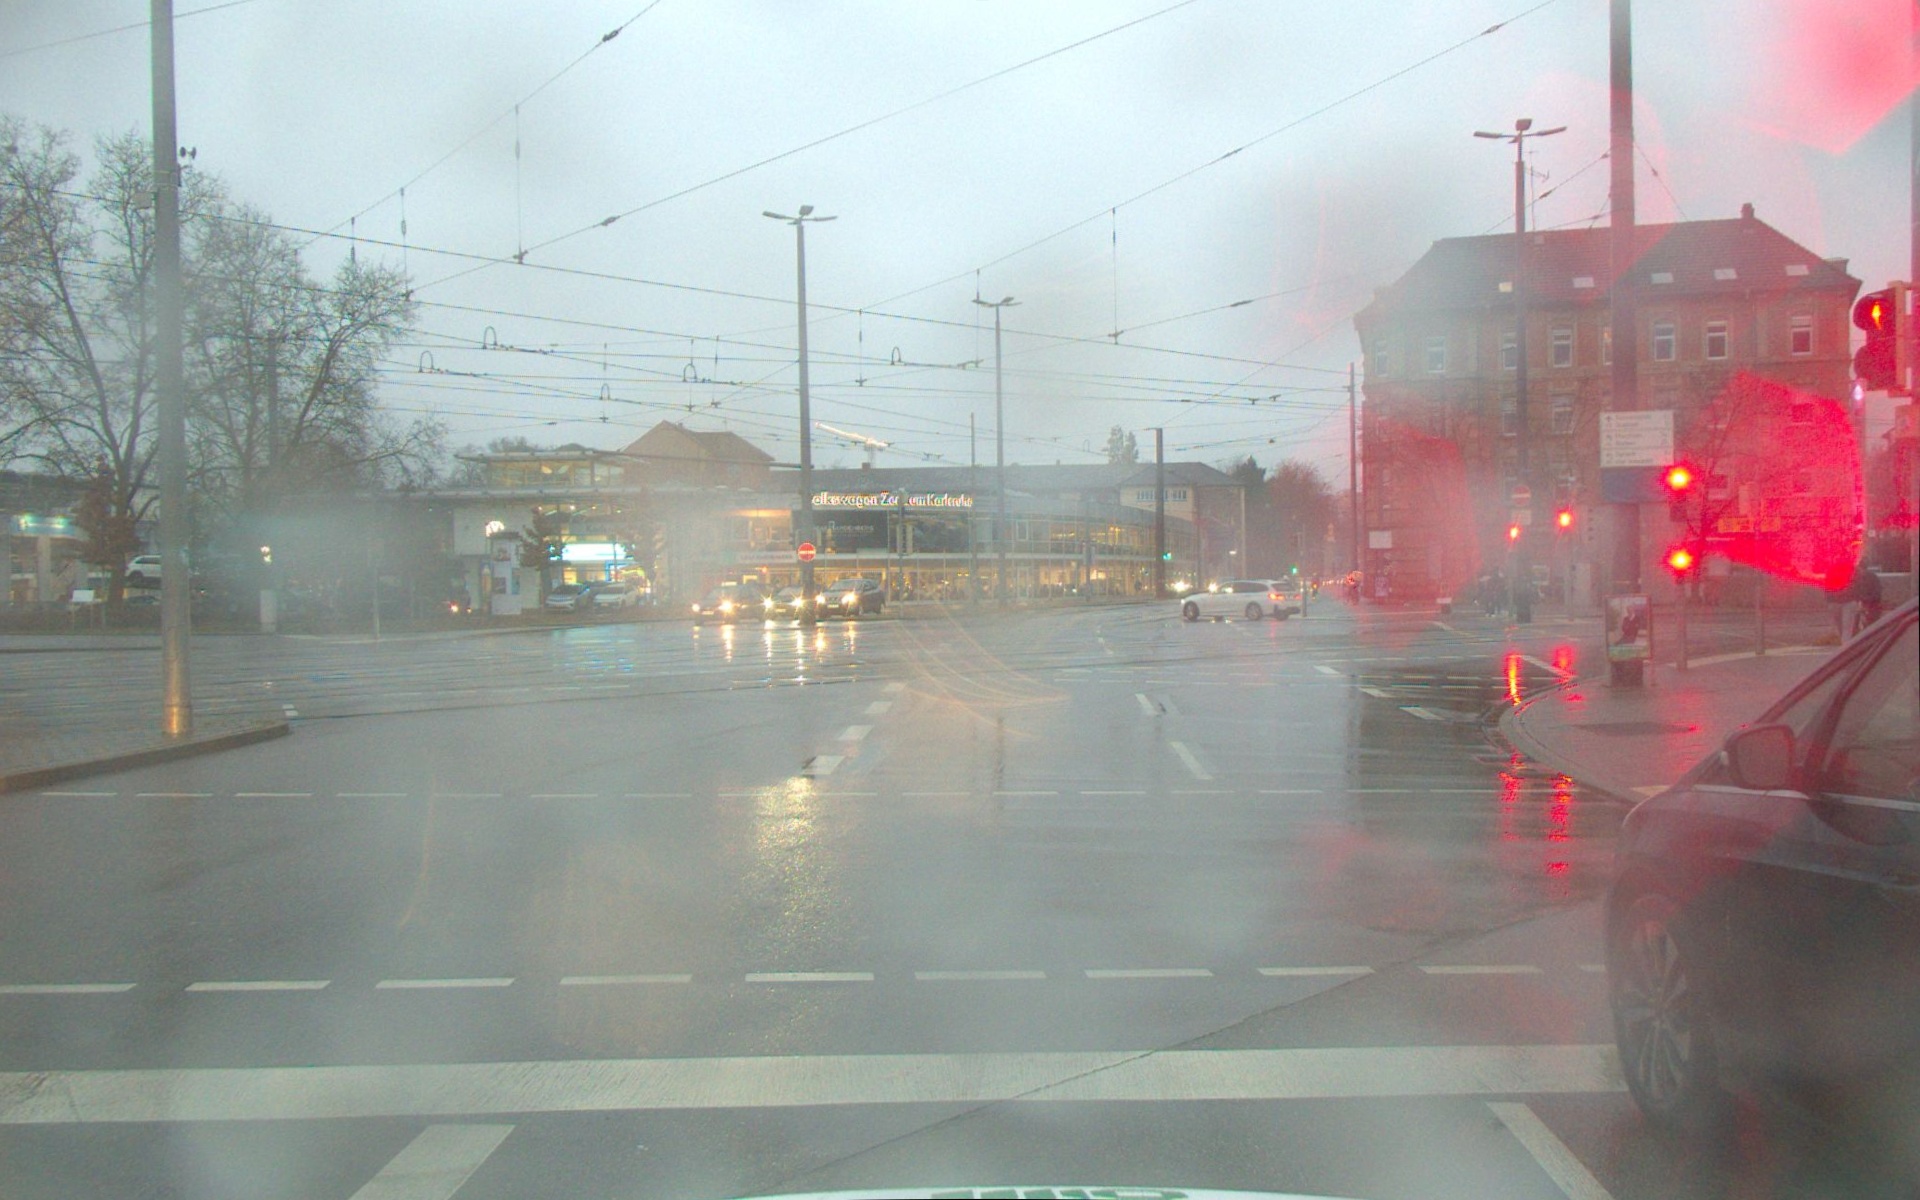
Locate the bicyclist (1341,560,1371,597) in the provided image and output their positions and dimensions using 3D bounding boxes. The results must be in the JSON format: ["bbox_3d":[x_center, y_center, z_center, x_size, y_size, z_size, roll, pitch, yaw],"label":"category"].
[{"bbox_3d":[19.881,-1.066,83.054,1.036,1.799,1.061,-1,0,-30],"label":"bicyclist"}]

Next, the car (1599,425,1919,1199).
[{"bbox_3d":[2.837,0.562,2.995,1.741,1.831,4.425,0,1,1],"label":"car"}]

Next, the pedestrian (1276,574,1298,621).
[{"bbox_3d":[13.130,-0.108,66.460,0.586,1.872,0.611,-1,0,-35],"label":"pedestrian"}]

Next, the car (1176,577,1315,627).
[{"bbox_3d":[10.167,0.084,59.132,4.731,1.686,1.729,-1,0,44],"label":"car"}]

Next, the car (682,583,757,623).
[{"bbox_3d":[-9.257,0.095,63.999,1.774,1.472,4.003,-1,0,8],"label":"car"}]

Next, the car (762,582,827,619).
[{"bbox_3d":[-7.037,0.009,70.701,1.774,1.472,4.003,-1,0,8],"label":"car"}]

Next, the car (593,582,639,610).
[{"bbox_3d":[-21.078,-0.240,101.453,1.824,1.629,4.001,-1,0,1],"label":"car"}]

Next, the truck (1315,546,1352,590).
[{"bbox_3d":[24.401,-2.088,107.953,1.951,2.738,5.118,-1,0,16],"label":"truck"}]

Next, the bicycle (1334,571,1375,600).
[{"bbox_3d":[19.791,-0.717,82.963,0.688,1.400,2.186,-1,0,-30],"label":"bicycle"}]

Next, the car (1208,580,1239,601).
[{"bbox_3d":[20.772,-0.753,130.384,1.823,1.629,3.788,-1,0,17],"label":"car"}]

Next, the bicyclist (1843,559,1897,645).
[{"bbox_3d":[17.163,0.031,31.202,0.684,1.603,0.773,-1,0,45],"label":"bicyclist"}]

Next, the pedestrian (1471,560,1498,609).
[{"bbox_3d":[22.174,-0.671,69.905,0.721,2.049,0.781,-1,0,-30],"label":"pedestrian"}]

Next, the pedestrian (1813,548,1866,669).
[{"bbox_3d":[14.787,0.140,27.799,0.665,1.984,0.674,-1,0,37],"label":"pedestrian"}]

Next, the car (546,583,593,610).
[{"bbox_3d":[-23.930,-0.220,101.515,1.824,1.629,4.001,-1,0,1],"label":"car"}]

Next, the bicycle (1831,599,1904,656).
[{"bbox_3d":[17.115,0.503,31.176,0.684,0.998,2.000,-1,0,44],"label":"bicycle"}]

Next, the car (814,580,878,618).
[{"bbox_3d":[-4.616,-0.058,67.418,1.774,1.472,4.003,-1,0,8],"label":"car"}]
